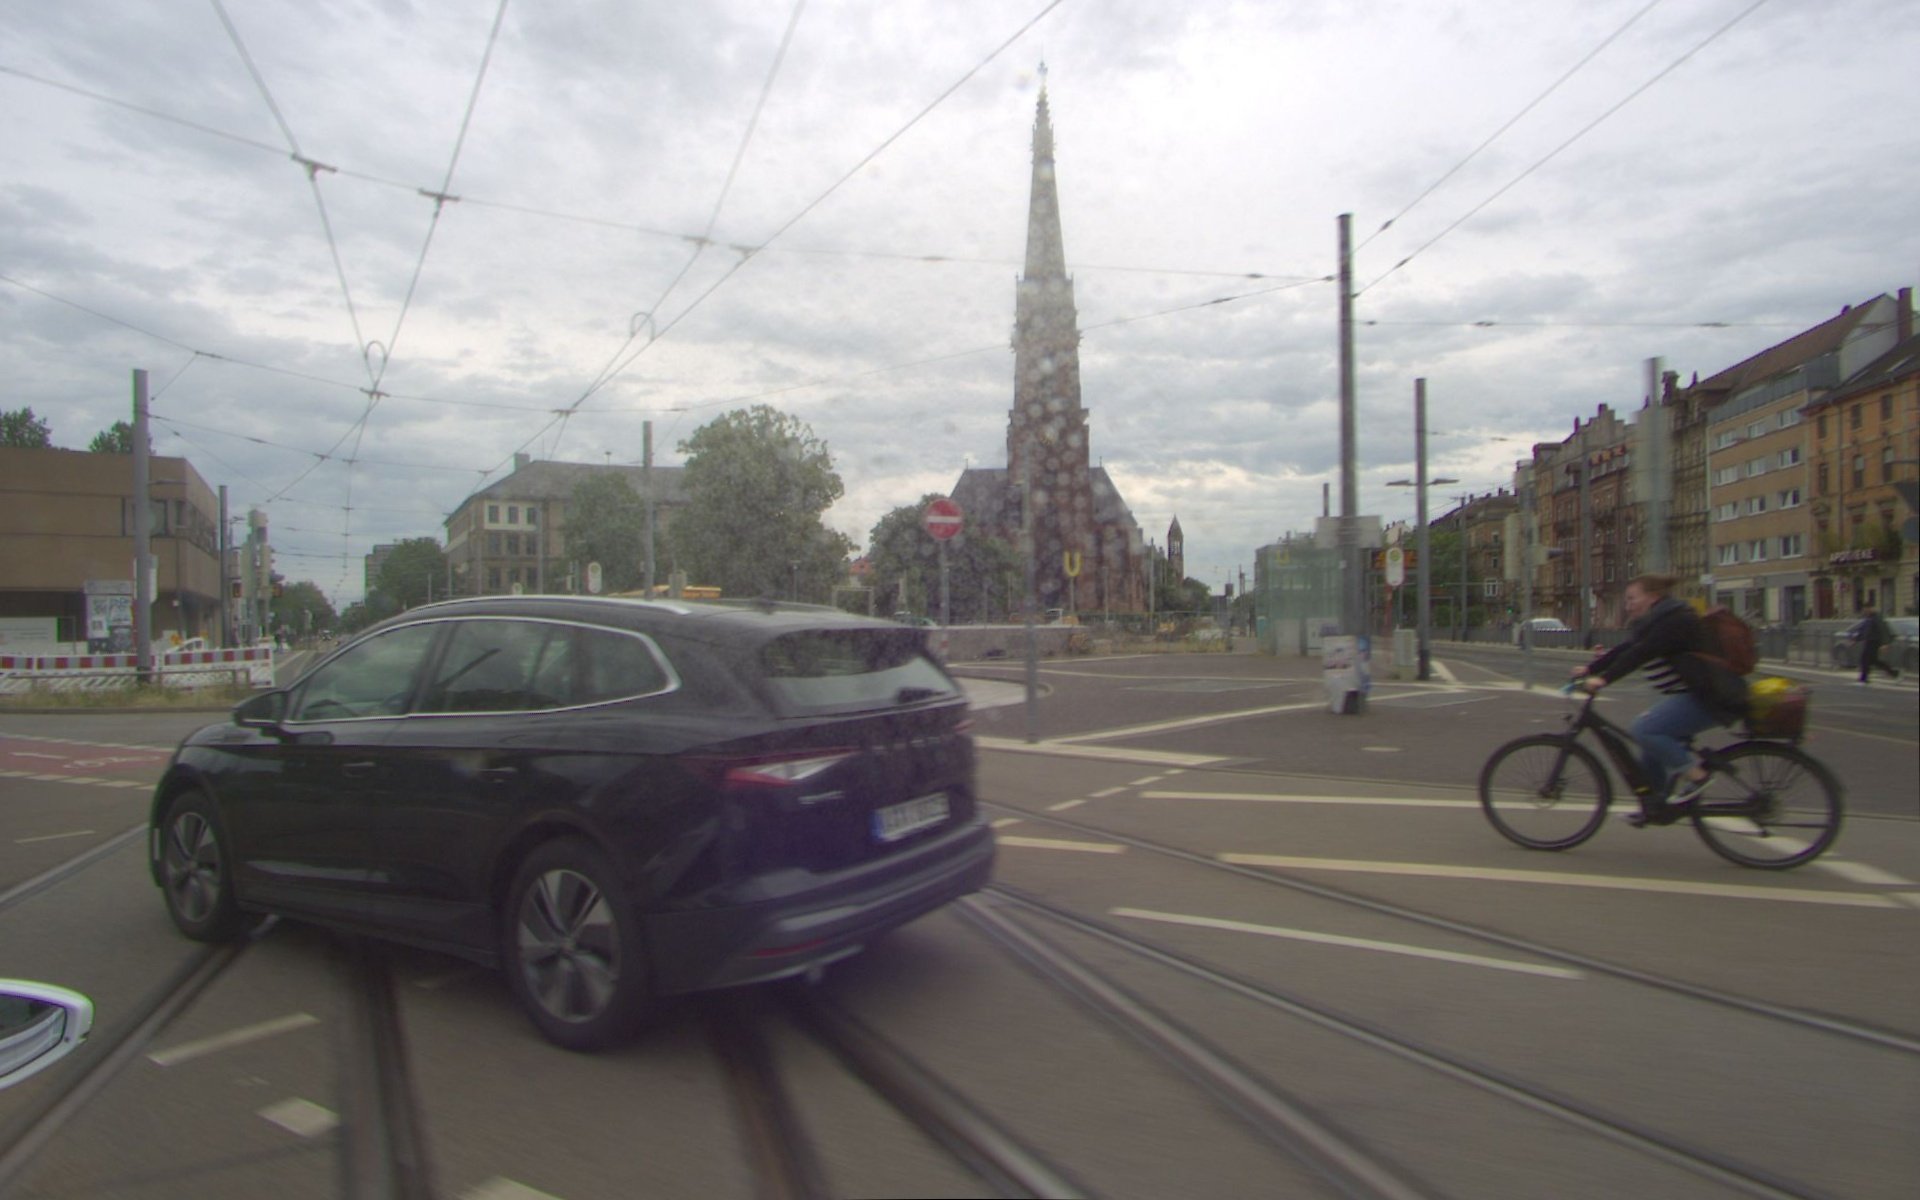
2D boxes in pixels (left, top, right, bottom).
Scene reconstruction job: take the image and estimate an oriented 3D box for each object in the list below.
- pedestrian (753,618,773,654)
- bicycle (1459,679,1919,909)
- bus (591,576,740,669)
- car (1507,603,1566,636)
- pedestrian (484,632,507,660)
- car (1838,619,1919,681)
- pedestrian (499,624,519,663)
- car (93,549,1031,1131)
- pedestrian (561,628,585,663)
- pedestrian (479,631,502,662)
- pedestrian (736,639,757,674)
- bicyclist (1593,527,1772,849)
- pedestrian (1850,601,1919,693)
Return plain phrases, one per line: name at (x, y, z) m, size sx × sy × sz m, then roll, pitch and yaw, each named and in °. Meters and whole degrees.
pedestrian at (-10.563, 1.935, 53.695) m, size 0.814 × 1.877 × 1.017 m, roll 0°, pitch -1°, yaw -27°
bicycle at (4.123, 1.033, 5.842) m, size 2.098 × 1.068 × 0.623 m, roll -2°, pitch -2°, yaw 36°
bus at (-12.742, 1.043, 42.057) m, size 2.983 × 3.309 × 12.977 m, roll 0°, pitch -2°, yaw -30°
car at (31.868, 1.109, 55.474) m, size 1.964 × 1.772 × 3.996 m, roll -1°, pitch -2°, yaw 17°
pedestrian at (-23.528, 2.329, 50.739) m, size 1.005 × 1.420 × 1.003 m, roll 0°, pitch -1°, yaw -27°
car at (24.427, 1.222, 25.065) m, size 1.964 × 1.505 × 4.441 m, roll -1°, pitch -2°, yaw 17°
pedestrian at (-21.558, 2.055, 47.829) m, size 0.814 × 1.831 × 1.017 m, roll 0°, pitch -1°, yaw -27°
car at (-2.068, 0.766, 4.851) m, size 4.448 × 1.679 × 1.901 m, roll -1°, pitch -2°, yaw 30°
pedestrian at (-18.754, 2.180, 48.520) m, size 0.992 × 1.666 × 1.017 m, roll 0°, pitch -1°, yaw -27°
pedestrian at (-24.613, 2.447, 52.489) m, size 1.006 × 1.596 × 1.003 m, roll 0°, pitch -1°, yaw -28°
pedestrian at (-11.362, 3.013, 53.240) m, size 0.814 × 1.831 × 1.017 m, roll 0°, pitch -1°, yaw -27°
bicyclist at (4.167, 0.482, 5.814) m, size 0.795 × 1.712 × 0.614 m, roll -1°, pitch -1°, yaw 36°
pedestrian at (19.916, 0.999, 21.498) m, size 0.887 × 1.936 × 0.784 m, roll 0°, pitch -1°, yaw -9°
